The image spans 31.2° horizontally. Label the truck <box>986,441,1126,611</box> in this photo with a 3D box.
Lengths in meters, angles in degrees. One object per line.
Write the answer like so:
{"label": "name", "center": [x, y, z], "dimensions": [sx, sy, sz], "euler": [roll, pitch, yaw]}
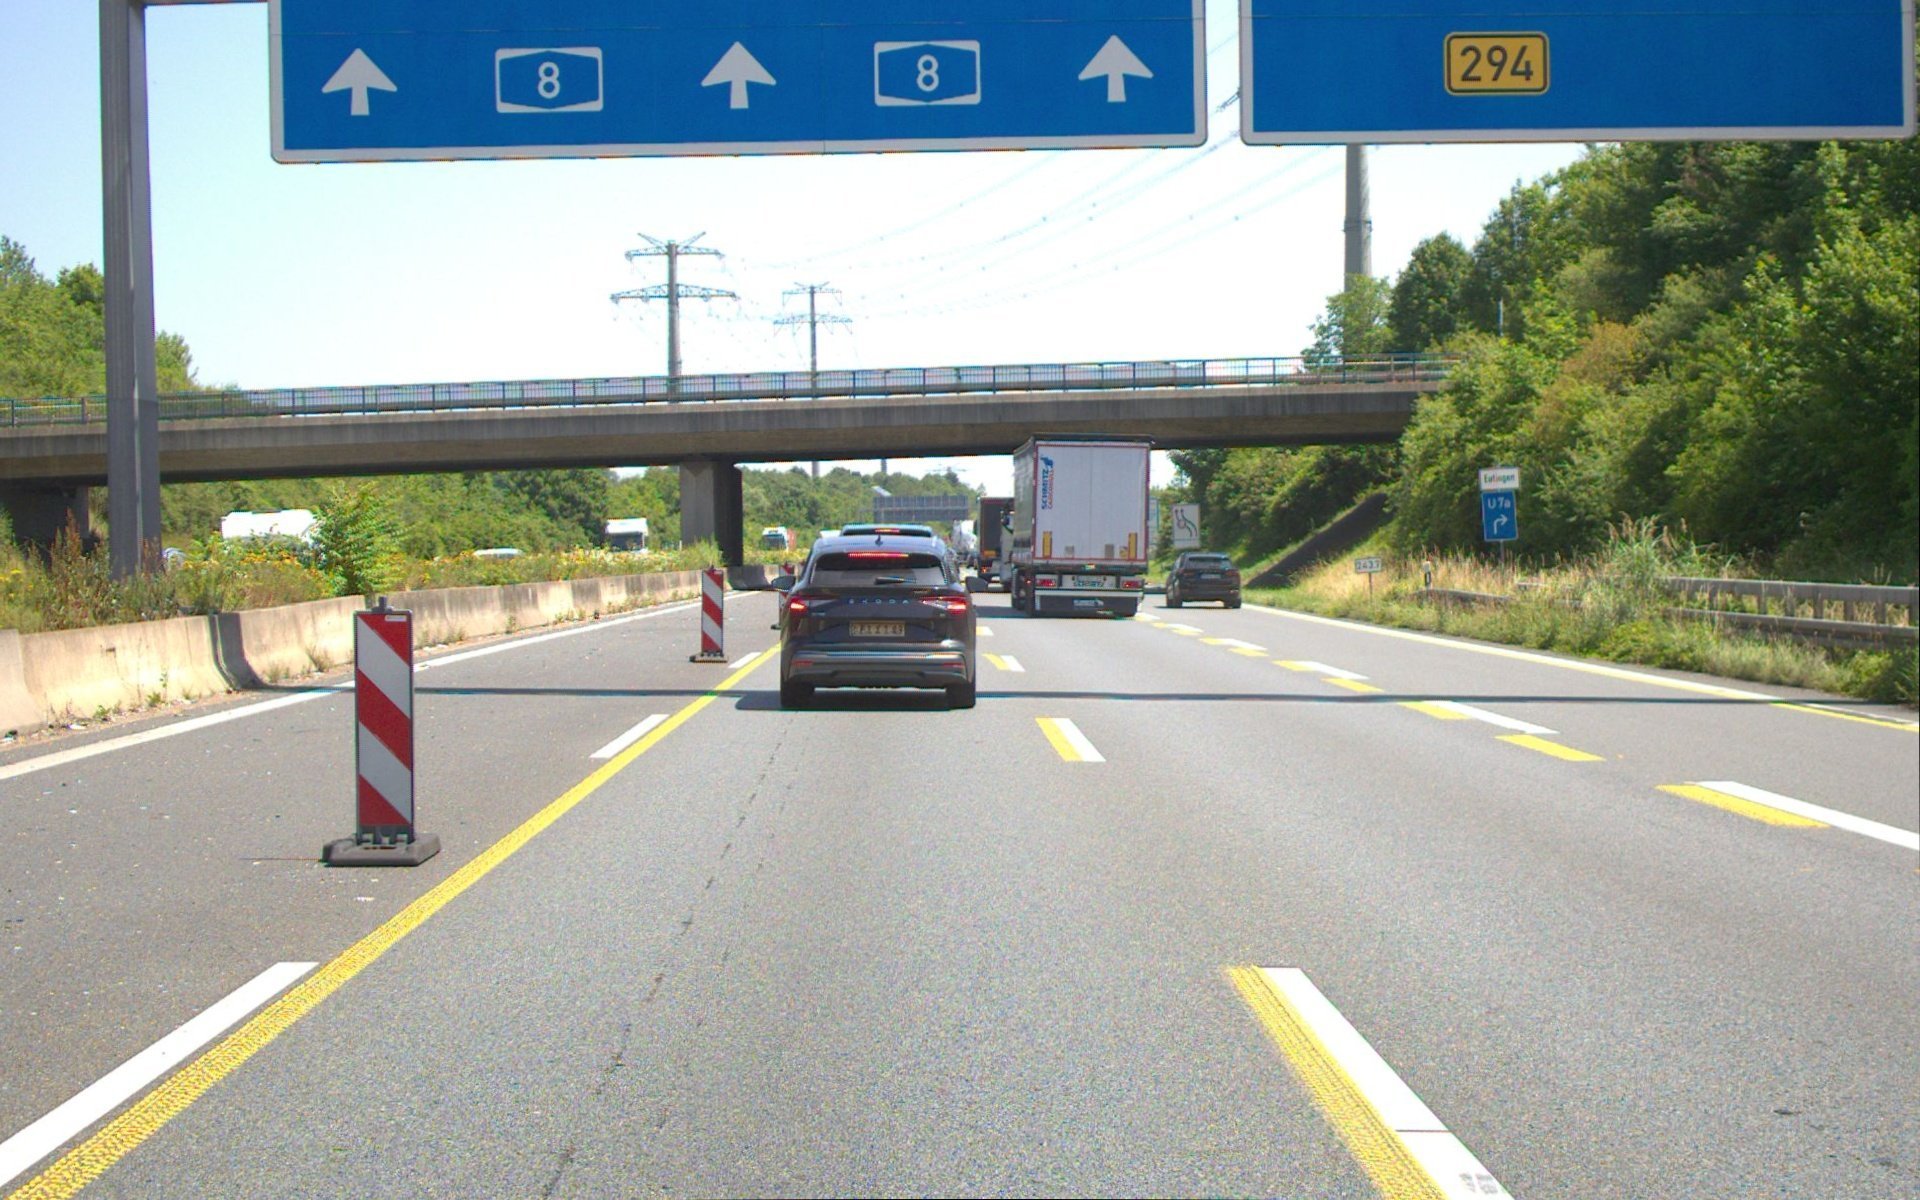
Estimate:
{"label": "truck", "center": [2.352, -1.860, 87.055], "dimensions": [3.024, 4.073, 7.796], "euler": [0, 1, -2]}

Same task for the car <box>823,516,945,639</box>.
{"label": "car", "center": [-1.298, -0.410, 57.458], "dimensions": [1.895, 1.835, 4.443], "euler": [2, 2, -2]}

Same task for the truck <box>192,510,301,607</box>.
{"label": "truck", "center": [-24.771, -1.449, 119.606], "dimensions": [2.495, 3.248, 6.365], "euler": [-1, 1, -1]}

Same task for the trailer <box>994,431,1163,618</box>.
{"label": "trailer", "center": [2.621, -1.740, 80.212], "dimensions": [3.065, 4.028, 11.489], "euler": [0, 1, -2]}

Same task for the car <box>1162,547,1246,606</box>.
{"label": "car", "center": [6.412, -0.639, 90.795], "dimensions": [1.779, 1.484, 4.464], "euler": [1, 1, -1]}

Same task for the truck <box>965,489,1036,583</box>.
{"label": "truck", "center": [1.836, -2.963, 160.534], "dimensions": [3.078, 4.132, 13.054], "euler": [1, 1, 0]}

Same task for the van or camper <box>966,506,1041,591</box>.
{"label": "van or camper", "center": [1.553, -1.859, 124.105], "dimensions": [2.586, 2.958, 6.085], "euler": [1, 1, 0]}

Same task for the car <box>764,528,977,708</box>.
{"label": "car", "center": [-0.881, 0.111, 33.183], "dimensions": [1.895, 1.586, 4.443], "euler": [-1, 1, -2]}

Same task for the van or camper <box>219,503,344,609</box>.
{"label": "van or camper", "center": [-20.992, -1.365, 106.697], "dimensions": [2.435, 3.136, 7.627], "euler": [-1, 1, -1]}
